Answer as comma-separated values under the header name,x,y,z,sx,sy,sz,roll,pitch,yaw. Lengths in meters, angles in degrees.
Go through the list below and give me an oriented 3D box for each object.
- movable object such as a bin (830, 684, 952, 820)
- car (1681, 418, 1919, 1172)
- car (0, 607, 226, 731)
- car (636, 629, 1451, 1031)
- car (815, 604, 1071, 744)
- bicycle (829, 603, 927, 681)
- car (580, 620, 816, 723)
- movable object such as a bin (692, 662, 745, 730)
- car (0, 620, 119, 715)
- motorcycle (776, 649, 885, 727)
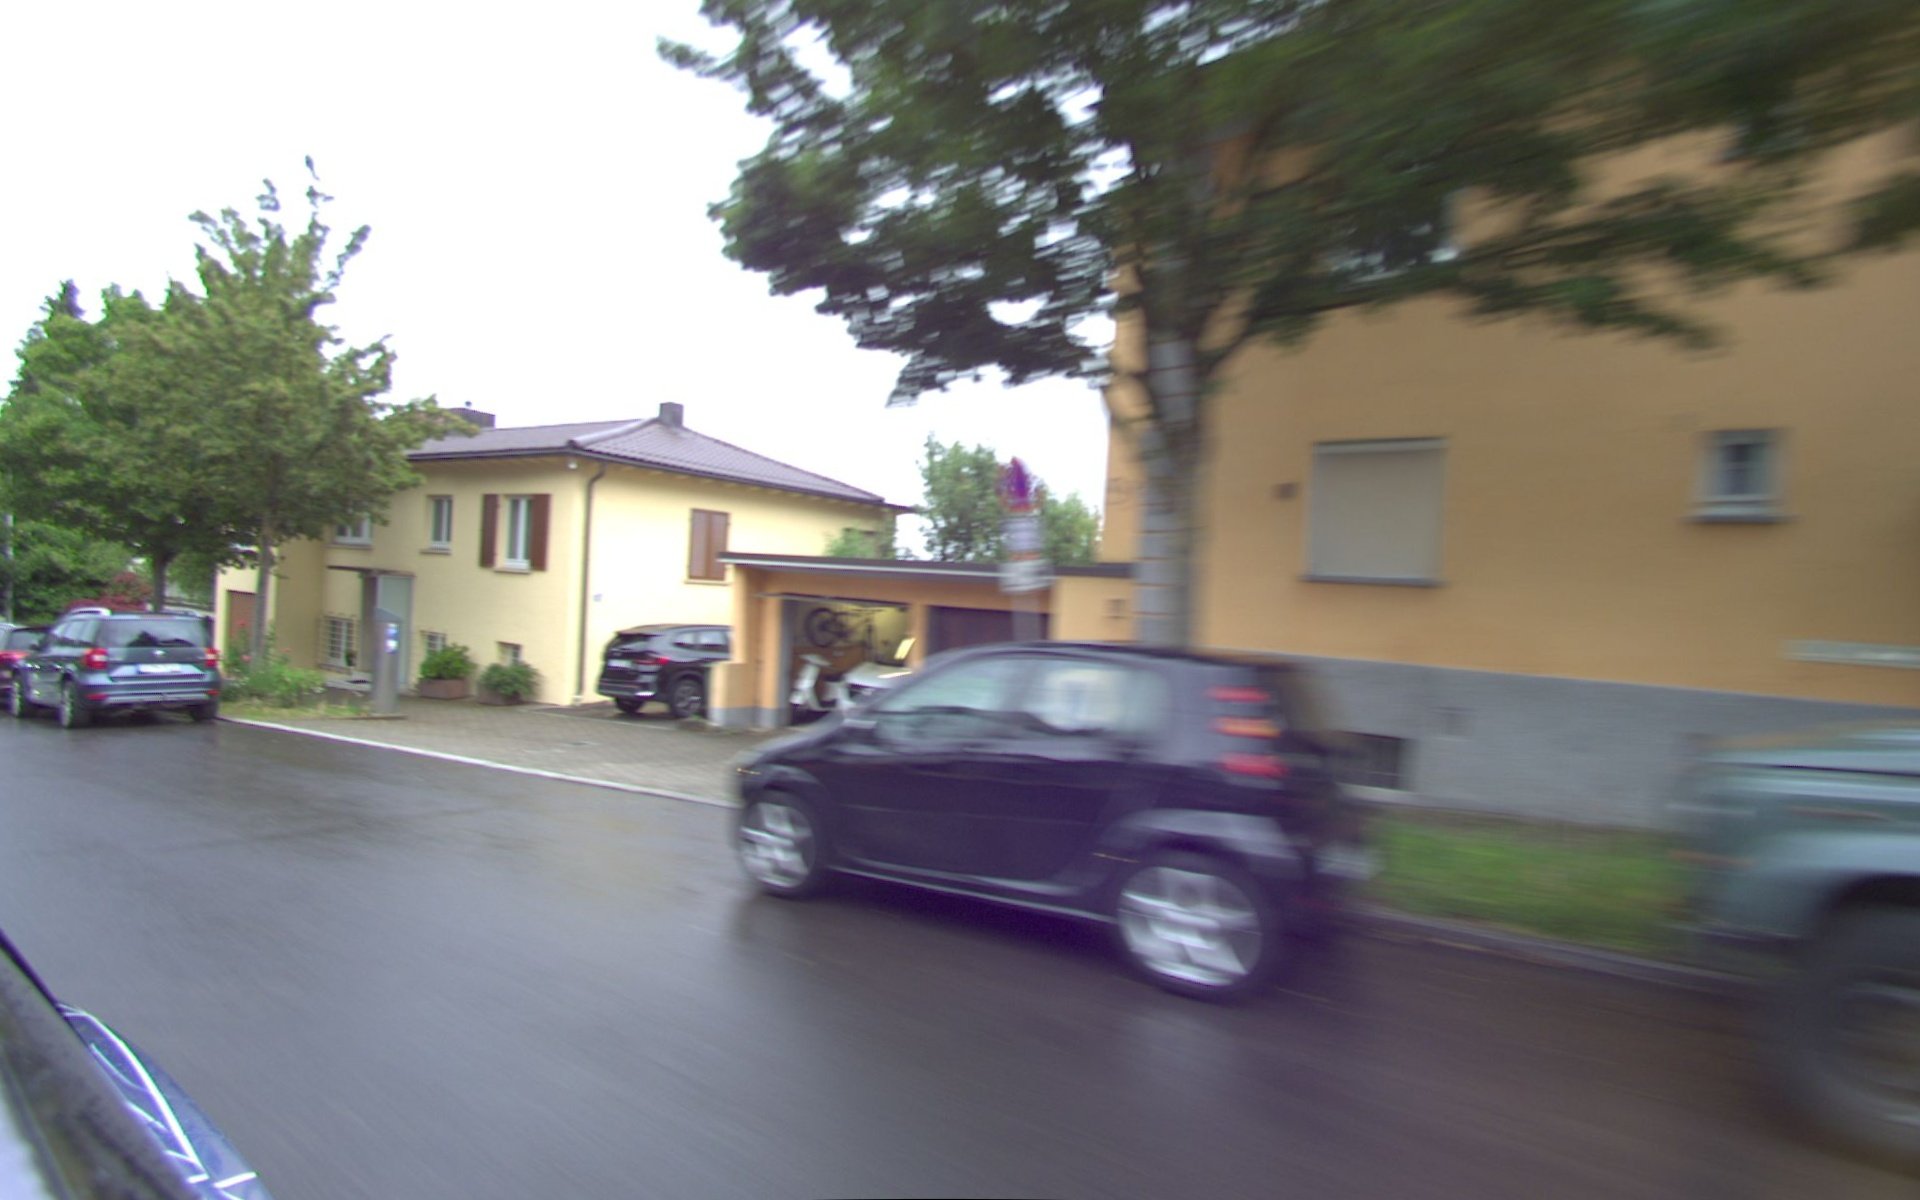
name,x,y,z,sx,sy,sz,roll,pitch,yaw
movable object such as a bin,-0.556,1.212,8.270,0.705,1.019,0.677,-1,-6,31
car,4.664,0.535,2.365,4.774,2.065,1.774,-2,-5,37
car,-12.930,0.962,15.357,4.102,1.647,1.752,-1,-1,37
car,0.251,0.917,5.745,4.339,1.447,1.752,-1,-3,36
car,-0.139,1.142,16.867,1.846,1.904,4.338,5,1,38
bicycle,-1.420,0.767,17.952,0.625,0.944,1.744,-1,-17,37
car,-4.752,1.224,18.838,1.860,1.658,4.017,0,-1,36
movable object such as a bin,-3.895,1.537,16.318,0.584,1.031,0.582,-1,0,33
car,-17.157,1.154,18.279,4.592,1.547,1.754,-1,-3,34
motorcycle,-2.109,1.425,16.718,0.577,1.176,1.882,3,-1,38
